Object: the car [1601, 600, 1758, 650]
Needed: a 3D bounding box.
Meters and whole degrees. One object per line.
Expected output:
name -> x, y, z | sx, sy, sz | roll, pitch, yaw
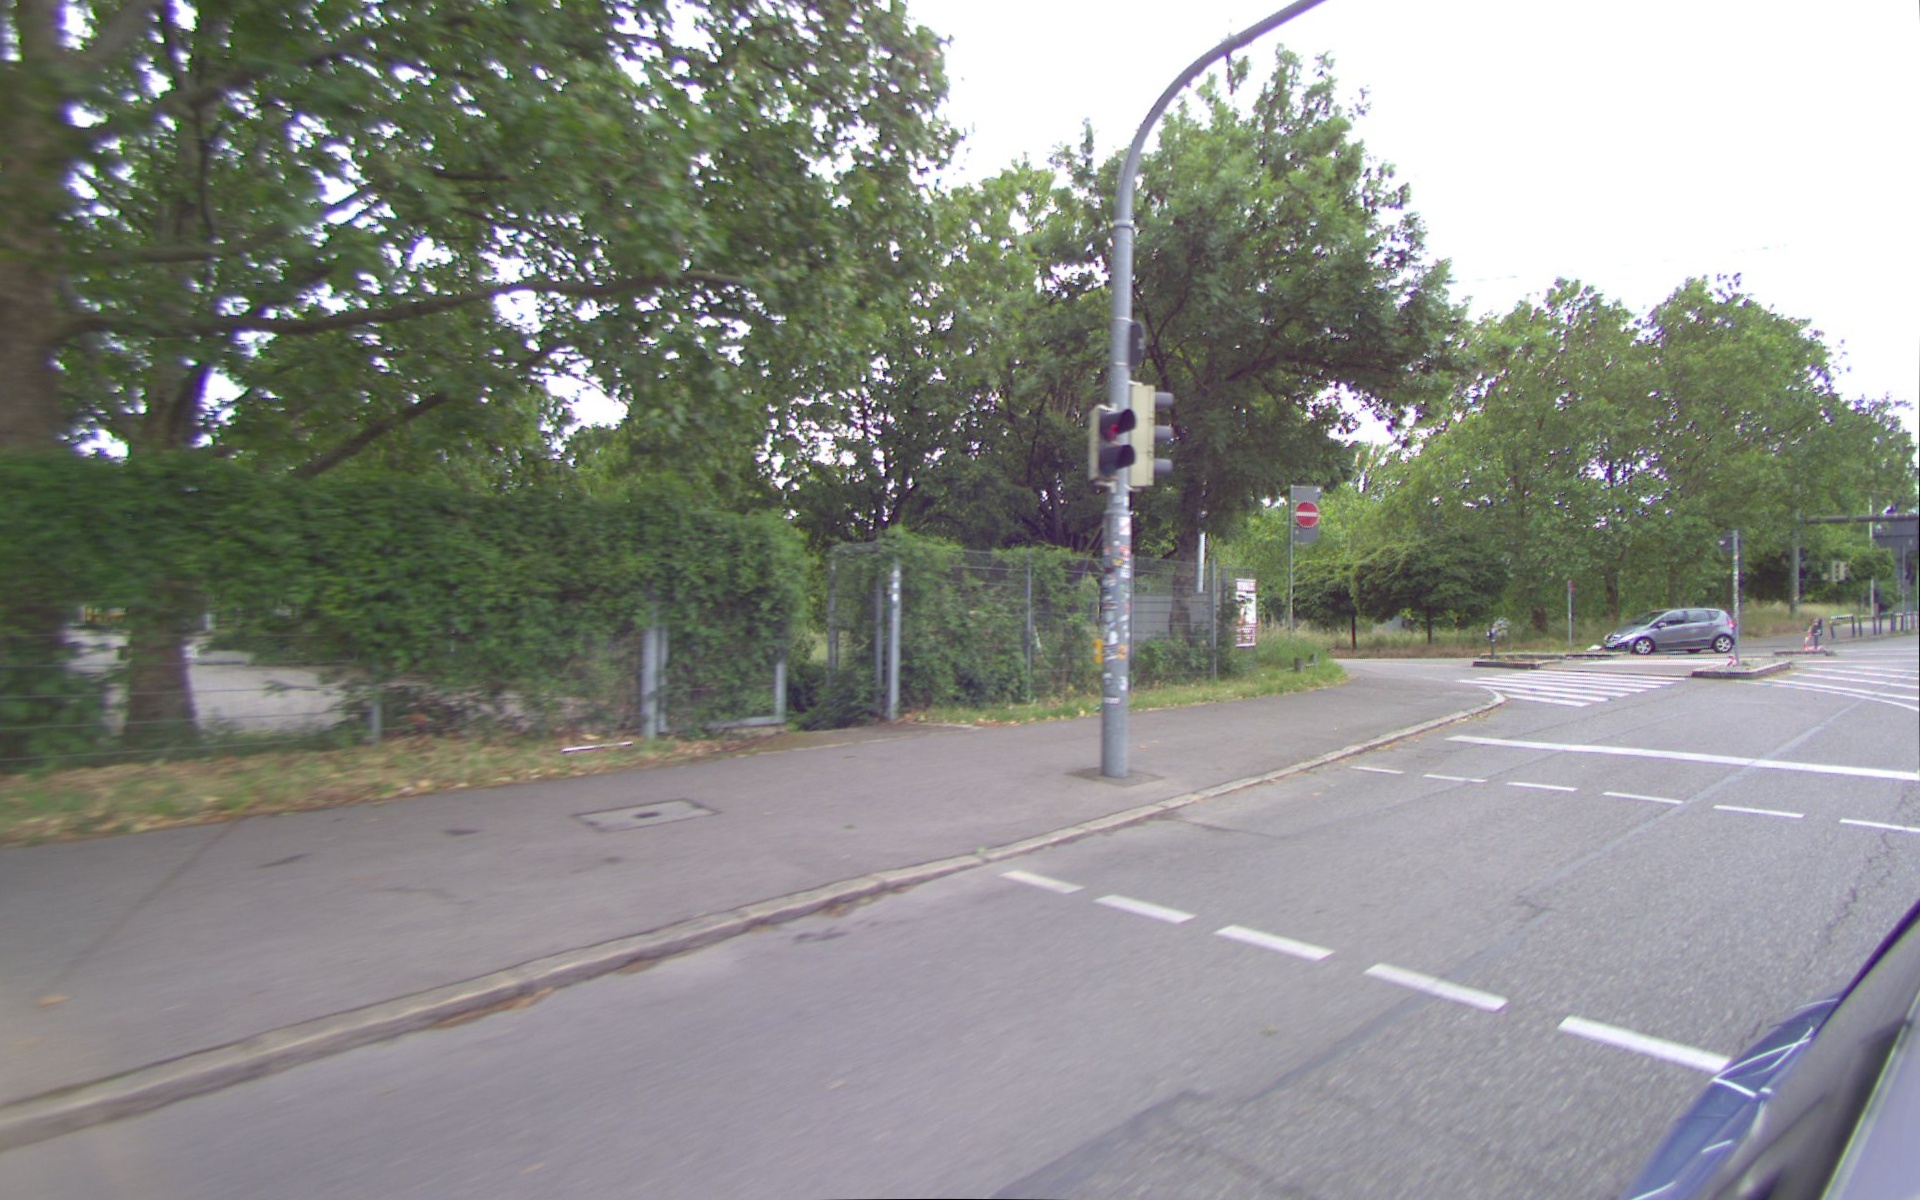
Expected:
car -> 24.582, 0.829, 34.701 | 3.965, 1.637, 1.828 | 0, -1, 7
